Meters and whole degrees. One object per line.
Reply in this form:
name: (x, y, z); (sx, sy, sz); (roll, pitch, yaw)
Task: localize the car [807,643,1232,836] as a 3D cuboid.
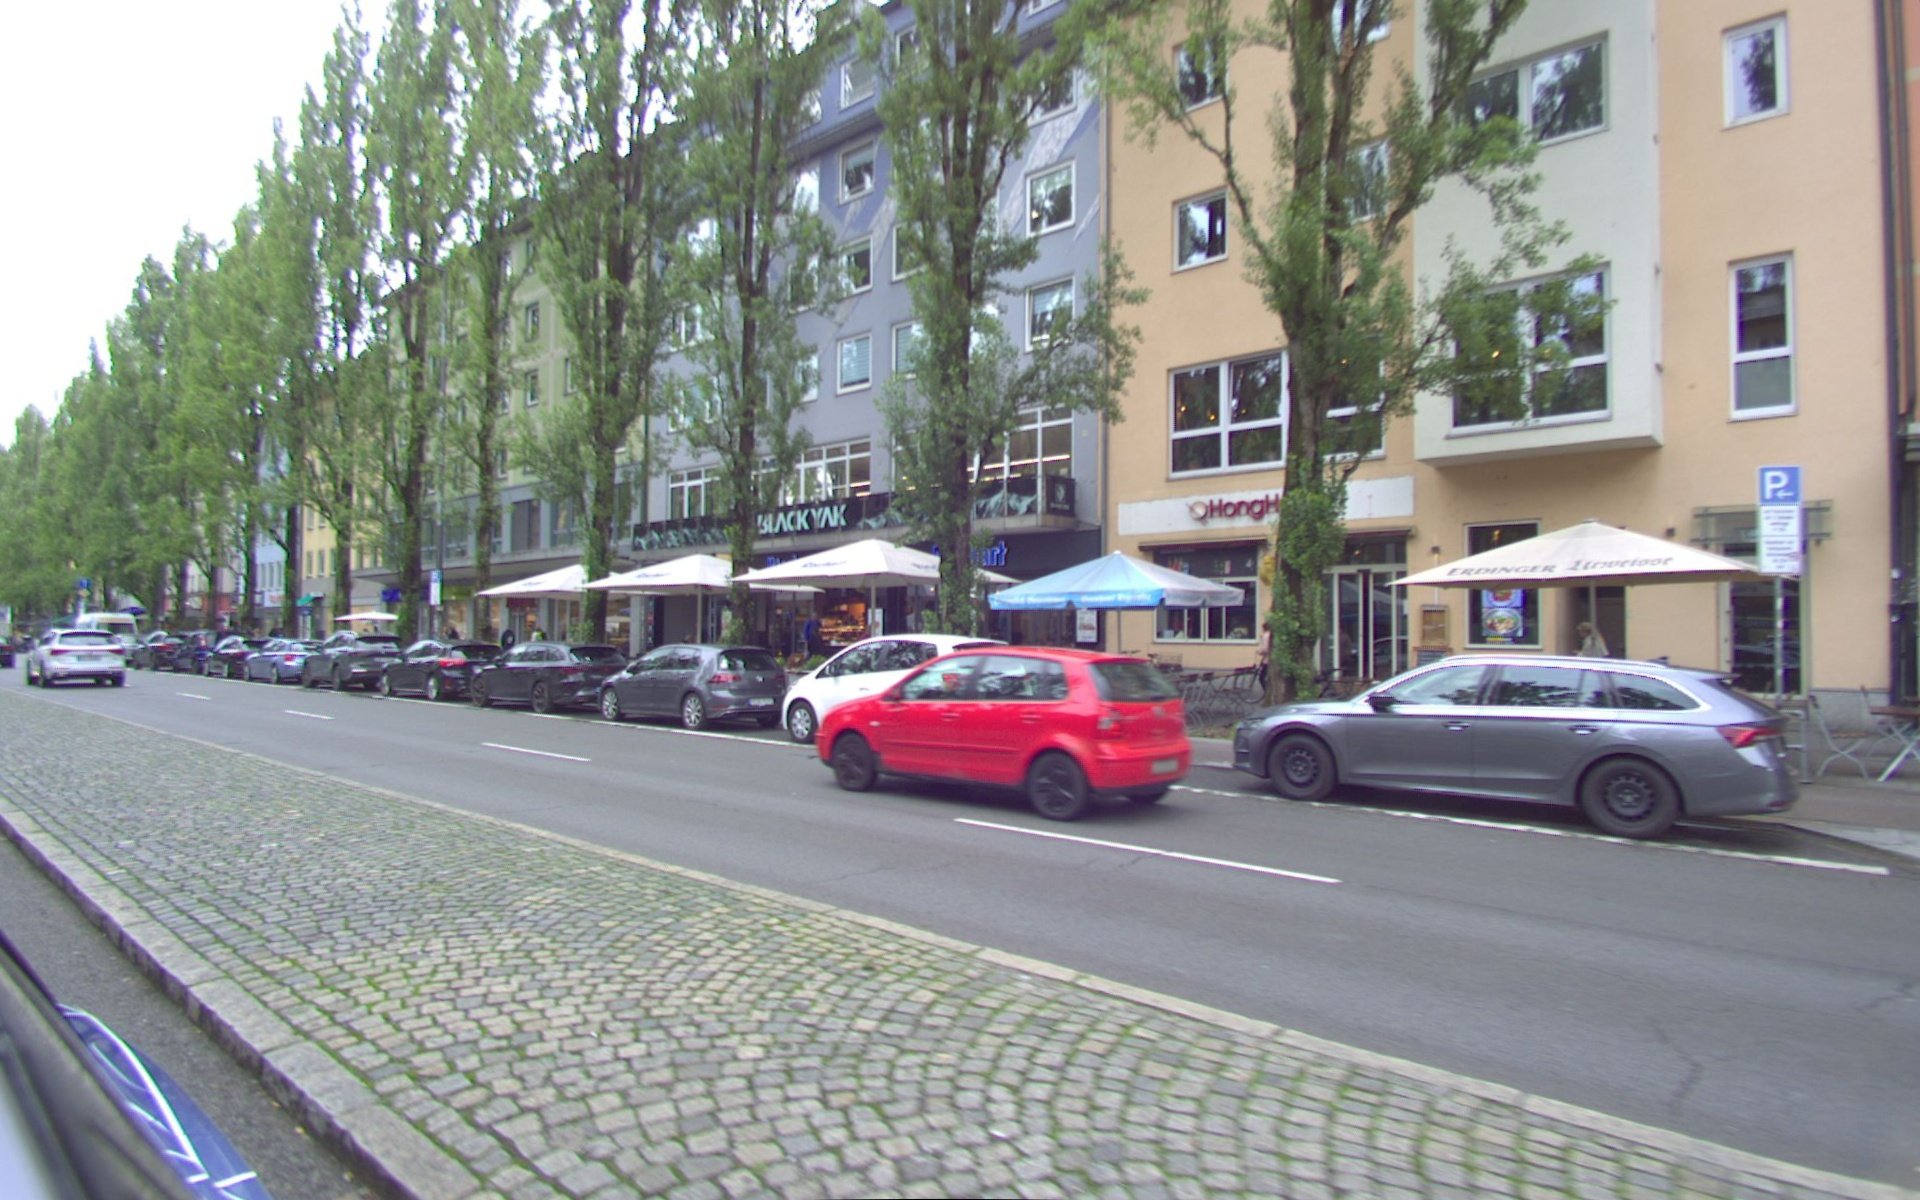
car: (0.453, 1.166, 9.699); (3.821, 1.448, 1.718); (-2, -4, 41)

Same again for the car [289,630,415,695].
car: (-17.360, 1.733, 28.826); (4.585, 1.693, 1.761); (-2, -4, 42)

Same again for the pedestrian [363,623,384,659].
pedestrian: (-29.569, 2.077, 51.029); (0.715, 1.809, 0.740); (-2, -3, 41)

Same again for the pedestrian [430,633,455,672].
pedestrian: (-22.342, 2.254, 43.657); (0.711, 1.663, 0.714); (-2, -3, 41)

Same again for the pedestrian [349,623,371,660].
pedestrian: (-29.964, 2.071, 50.550); (0.715, 1.809, 0.740); (-2, -3, 41)

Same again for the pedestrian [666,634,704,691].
pedestrian: (-7.939, 1.782, 29.233); (0.742, 1.614, 0.746); (-2, -3, 39)

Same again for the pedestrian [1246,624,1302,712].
pedestrian: (6.187, 1.325, 19.946); (0.801, 1.681, 0.772); (-2, -3, 40)

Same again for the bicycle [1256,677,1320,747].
bicycle: (5.011, 1.694, 15.539); (0.320, 0.966, 1.536); (0, -2, -6)

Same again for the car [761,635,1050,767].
car: (-0.873, 1.328, 14.431); (4.094, 1.595, 1.685); (-1, -4, 41)

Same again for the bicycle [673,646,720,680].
bicycle: (-8.936, 2.126, 34.280); (1.575, 1.105, 0.612); (-1, -3, 30)

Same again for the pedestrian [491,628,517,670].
pedestrian: (-18.825, 2.021, 41.789); (0.755, 1.685, 0.701); (-2, -3, 41)

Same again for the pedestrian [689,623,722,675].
pedestrian: (-8.236, 1.588, 32.772); (0.756, 1.653, 0.732); (-2, -4, 43)

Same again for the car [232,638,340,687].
car: (-21.720, 1.975, 32.547); (4.397, 1.428, 1.641); (-1, -4, 40)

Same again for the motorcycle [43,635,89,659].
motorcycle: (-55.178, 2.897, 62.480); (0.569, 1.432, 2.000); (-2, -3, 33)

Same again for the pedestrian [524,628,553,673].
pedestrian: (-16.584, 1.981, 39.818); (0.755, 1.768, 0.810); (-2, -3, 41)

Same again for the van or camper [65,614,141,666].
van or camper: (-45.389, 2.126, 53.543); (6.640, 2.570, 2.103); (-2, -3, 41)

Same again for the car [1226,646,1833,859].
car: (4.967, 1.200, 9.338); (4.585, 1.449, 1.686); (-1, -4, 39)

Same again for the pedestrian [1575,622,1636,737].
pedestrian: (9.999, 1.209, 15.685); (0.691, 1.731, 0.549); (-2, -3, 40)

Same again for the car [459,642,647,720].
car: (-8.593, 1.639, 21.186); (4.429, 1.423, 1.686); (-1, -4, 39)

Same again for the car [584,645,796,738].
car: (-4.835, 1.533, 17.795); (4.184, 1.392, 1.478); (-1, -4, 41)

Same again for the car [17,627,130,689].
car: (-25.814, 1.672, 29.422); (4.573, 1.648, 1.824); (-2, -5, 42)

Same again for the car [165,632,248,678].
car: (-29.681, 2.158, 39.827); (3.767, 1.699, 1.602); (-1, -5, 38)

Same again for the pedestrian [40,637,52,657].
pedestrian: (-74.496, 3.827, 82.480); (0.600, 1.601, 0.552); (2, -4, -38)

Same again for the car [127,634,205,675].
car: (-33.779, 2.298, 43.009); (4.500, 1.645, 1.685); (-1, -4, 41)

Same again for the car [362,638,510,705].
car: (-12.890, 1.708, 24.792); (4.367, 1.478, 1.659); (-1, -4, 41)

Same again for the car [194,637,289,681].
car: (-25.566, 2.050, 35.952); (4.583, 1.457, 1.685); (-1, -3, 41)

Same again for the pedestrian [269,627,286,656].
pedestrian: (-40.877, 2.491, 60.577); (0.723, 1.717, 0.632); (-2, -3, 40)

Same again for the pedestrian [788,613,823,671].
pedestrian: (-4.810, 1.318, 31.525); (0.755, 1.768, 0.733); (-2, -3, 41)

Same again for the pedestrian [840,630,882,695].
pedestrian: (-2.534, 1.587, 25.924); (0.756, 1.614, 0.732); (-2, -4, 43)

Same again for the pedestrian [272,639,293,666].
pedestrian: (-36.034, 2.799, 53.843); (0.550, 1.450, 0.760); (-2, -3, 36)

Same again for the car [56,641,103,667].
car: (-50.731, 3.082, 58.304); (3.760, 1.422, 1.539); (-2, -3, 42)

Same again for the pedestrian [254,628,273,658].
pedestrian: (-41.211, 2.554, 59.877); (0.723, 1.779, 0.723); (-2, -3, 39)

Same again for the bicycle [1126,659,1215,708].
bicycle: (4.630, 1.832, 22.372); (1.956, 1.010, 0.437); (-2, -3, 43)

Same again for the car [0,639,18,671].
car: (-42.807, 2.362, 44.277); (4.174, 1.372, 1.817); (-2, -5, 41)
